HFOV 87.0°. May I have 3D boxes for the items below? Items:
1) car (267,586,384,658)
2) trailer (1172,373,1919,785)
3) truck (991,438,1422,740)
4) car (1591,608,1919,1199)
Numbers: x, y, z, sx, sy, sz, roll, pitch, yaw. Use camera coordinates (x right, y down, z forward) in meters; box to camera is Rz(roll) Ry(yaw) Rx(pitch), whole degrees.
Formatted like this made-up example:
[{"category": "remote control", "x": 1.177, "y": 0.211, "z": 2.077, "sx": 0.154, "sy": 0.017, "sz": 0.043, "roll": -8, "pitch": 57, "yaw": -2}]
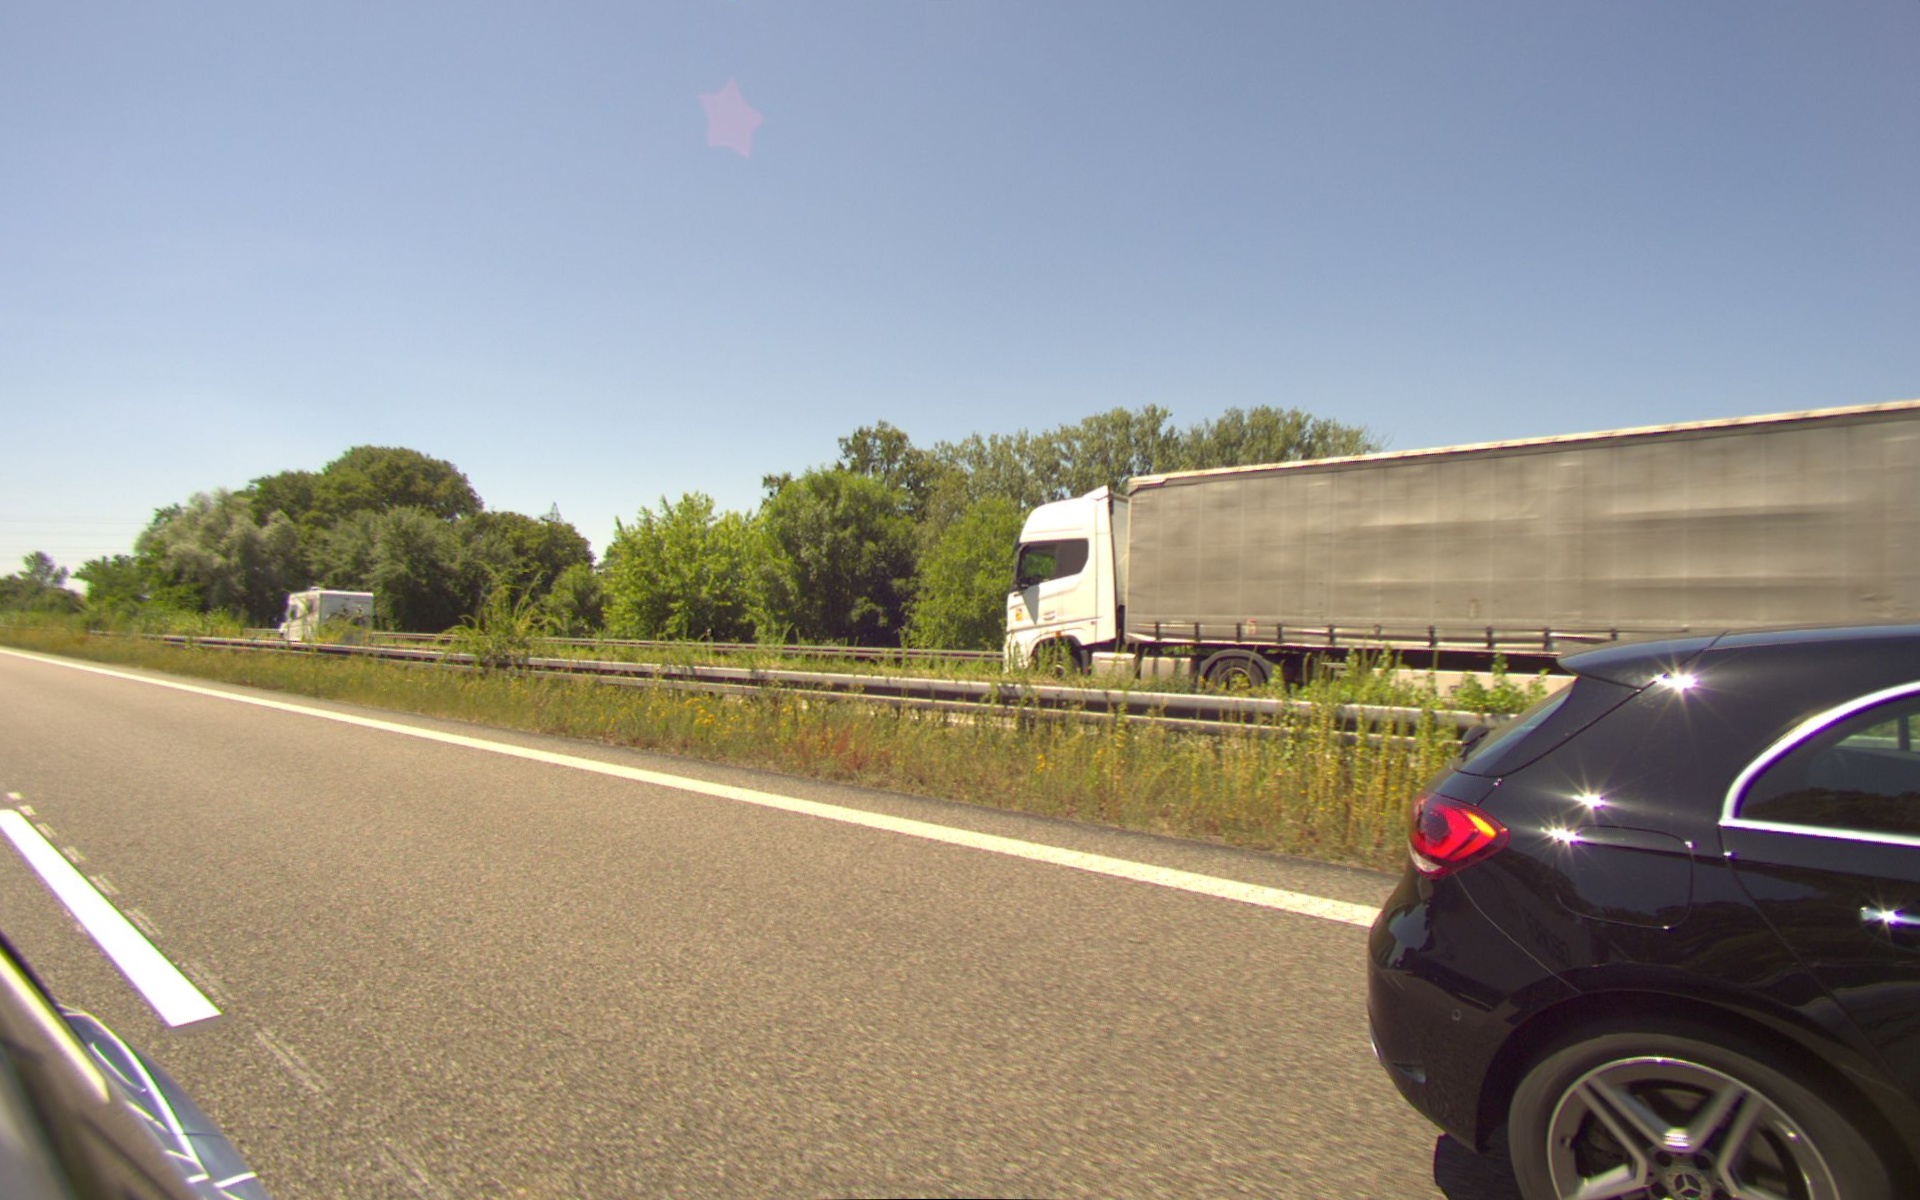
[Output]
[{"category": "car", "x": -28.819, "y": 0.987, "z": 45.791, "sx": 8.084, "sy": 3.004, "sz": 2.519, "roll": -1, "pitch": -1, "yaw": 43}, {"category": "trailer", "x": 9.595, "y": -0.162, "z": 13.705, "sx": 13.319, "sy": 4.456, "sz": 3.162, "roll": -1, "pitch": -3, "yaw": 41}, {"category": "truck", "x": 4.262, "y": -0.096, "z": 18.400, "sx": 6.977, "sy": 4.460, "sz": 3.128, "roll": -1, "pitch": -2, "yaw": 41}, {"category": "car", "x": 3.346, "y": 0.711, "z": 1.316, "sx": 4.051, "sy": 1.422, "sz": 1.773, "roll": -1, "pitch": -1, "yaw": 42}]
